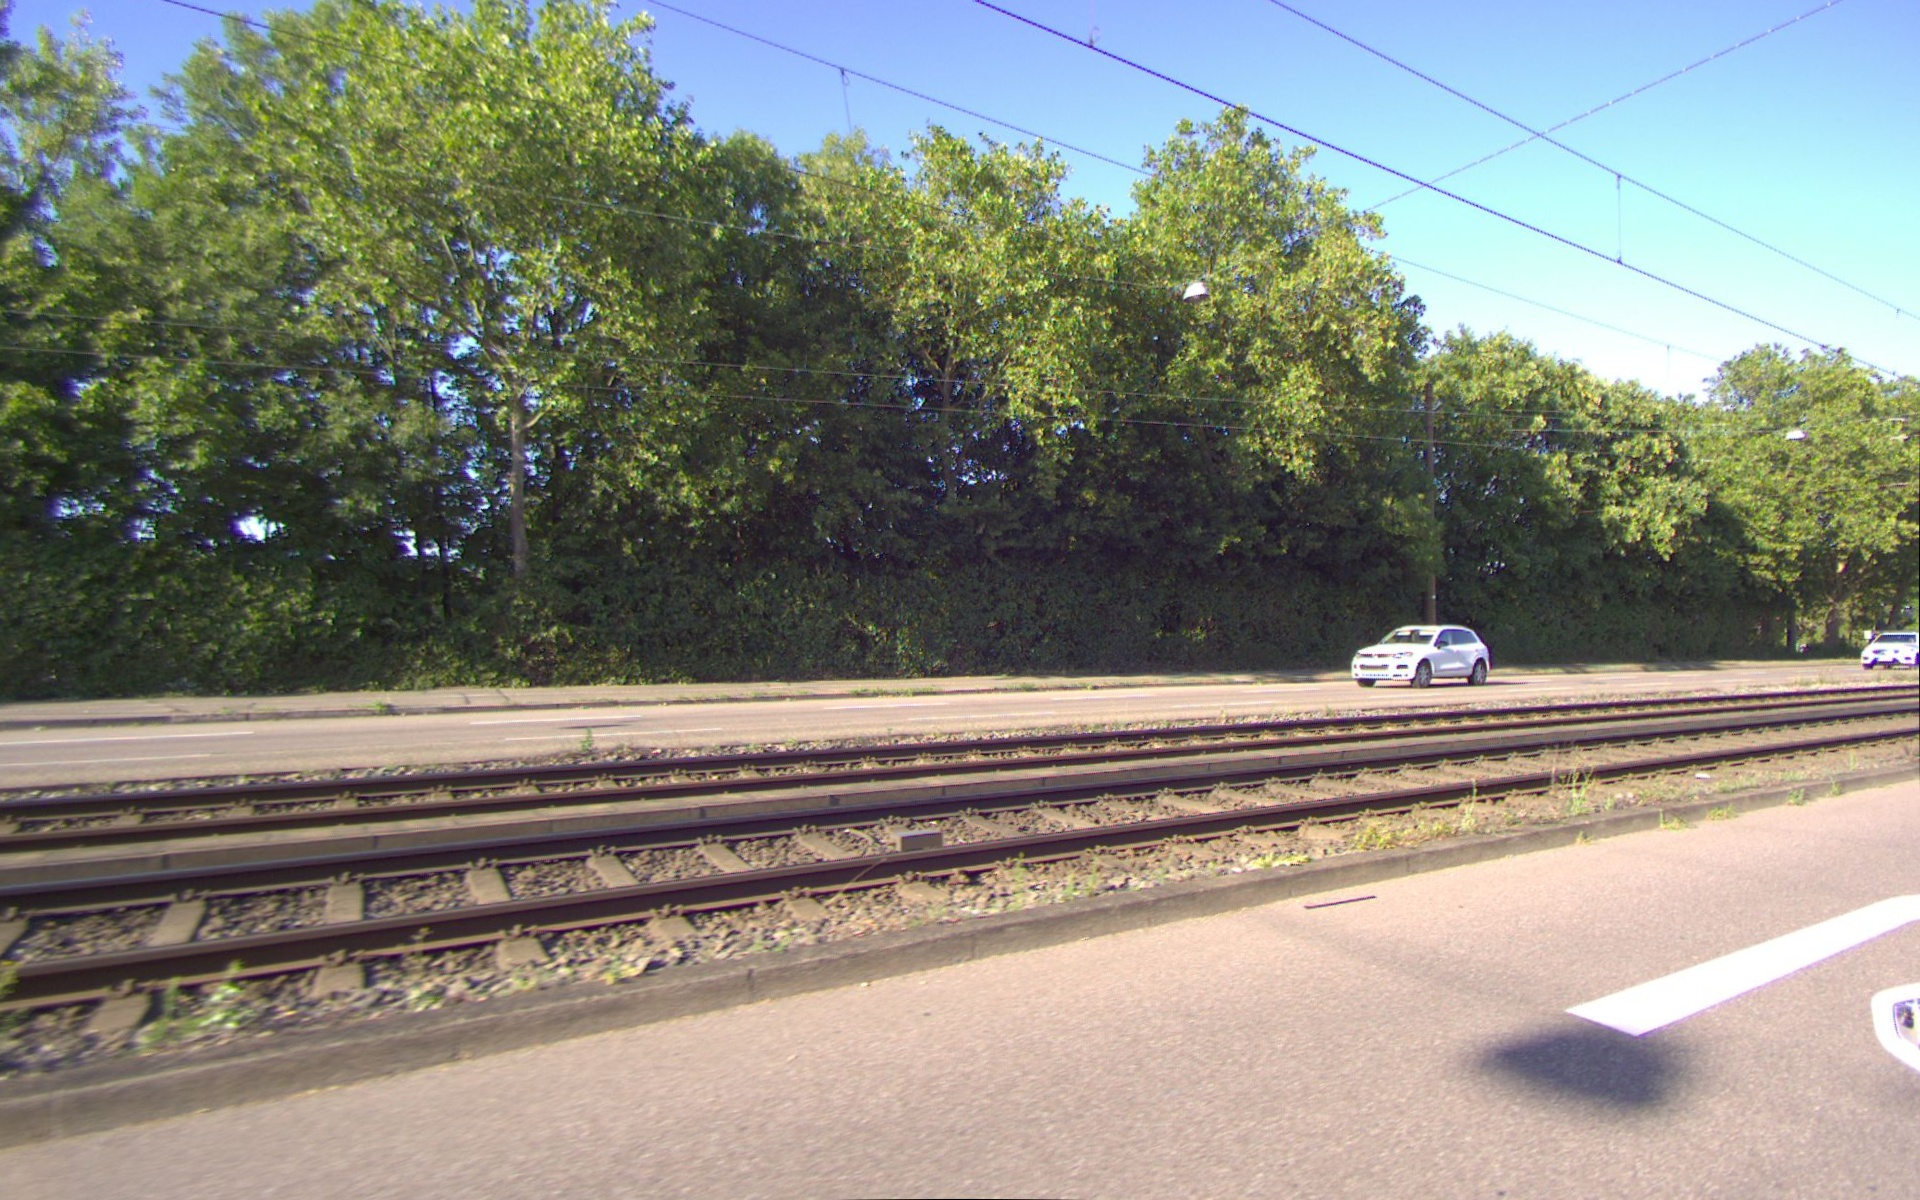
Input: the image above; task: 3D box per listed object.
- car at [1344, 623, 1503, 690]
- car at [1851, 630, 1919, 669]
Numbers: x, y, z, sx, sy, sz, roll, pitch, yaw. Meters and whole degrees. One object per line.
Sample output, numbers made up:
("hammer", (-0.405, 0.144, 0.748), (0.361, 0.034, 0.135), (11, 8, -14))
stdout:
("car", (13.218, 1.599, 28.540), (4.881, 1.756, 1.835), (2, -4, -34))
("car", (44.306, 2.358, 47.536), (4.892, 1.729, 1.951), (2, -4, -34))
